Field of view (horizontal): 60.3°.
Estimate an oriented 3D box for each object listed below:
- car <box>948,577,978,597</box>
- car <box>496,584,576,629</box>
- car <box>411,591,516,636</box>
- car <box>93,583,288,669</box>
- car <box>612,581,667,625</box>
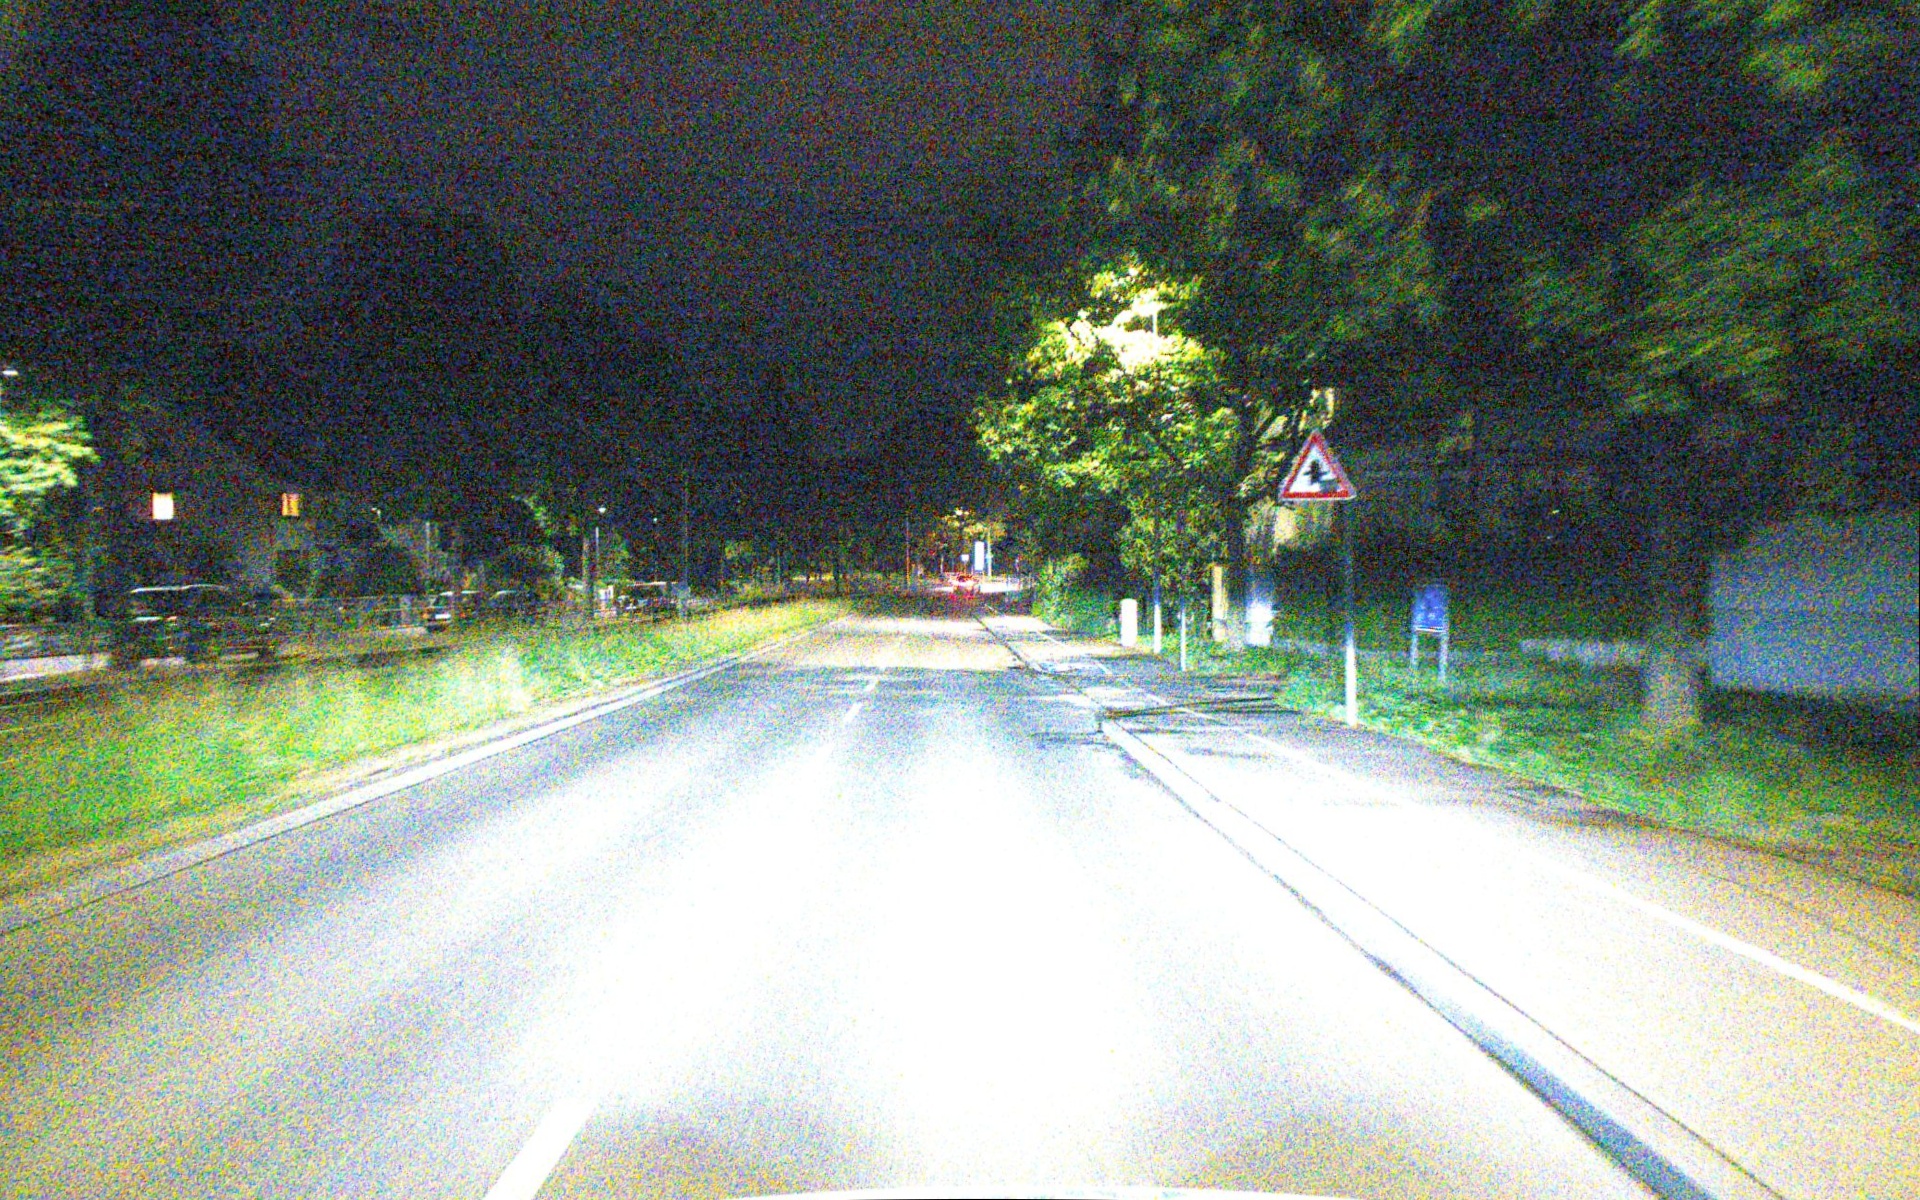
[{"bbox_3d":[0.272,-1.078,141.346,2.116,1.610,4.016,0,0,6],"label":"car"},{"bbox_3d":[-15.352,0.215,60.081,1.953,1.557,3.999,0,0,-2],"label":"car"},{"bbox_3d":[-16.122,0.417,53.982,1.953,1.361,5.430,0,0,-2],"label":"car"},{"bbox_3d":[-15.789,0.500,34.231,1.953,1.656,4.675,0,0,-2],"label":"car"},{"bbox_3d":[-16.398,0.132,84.814,2.050,2.048,3.999,-4,1,-2],"label":"car"}]
